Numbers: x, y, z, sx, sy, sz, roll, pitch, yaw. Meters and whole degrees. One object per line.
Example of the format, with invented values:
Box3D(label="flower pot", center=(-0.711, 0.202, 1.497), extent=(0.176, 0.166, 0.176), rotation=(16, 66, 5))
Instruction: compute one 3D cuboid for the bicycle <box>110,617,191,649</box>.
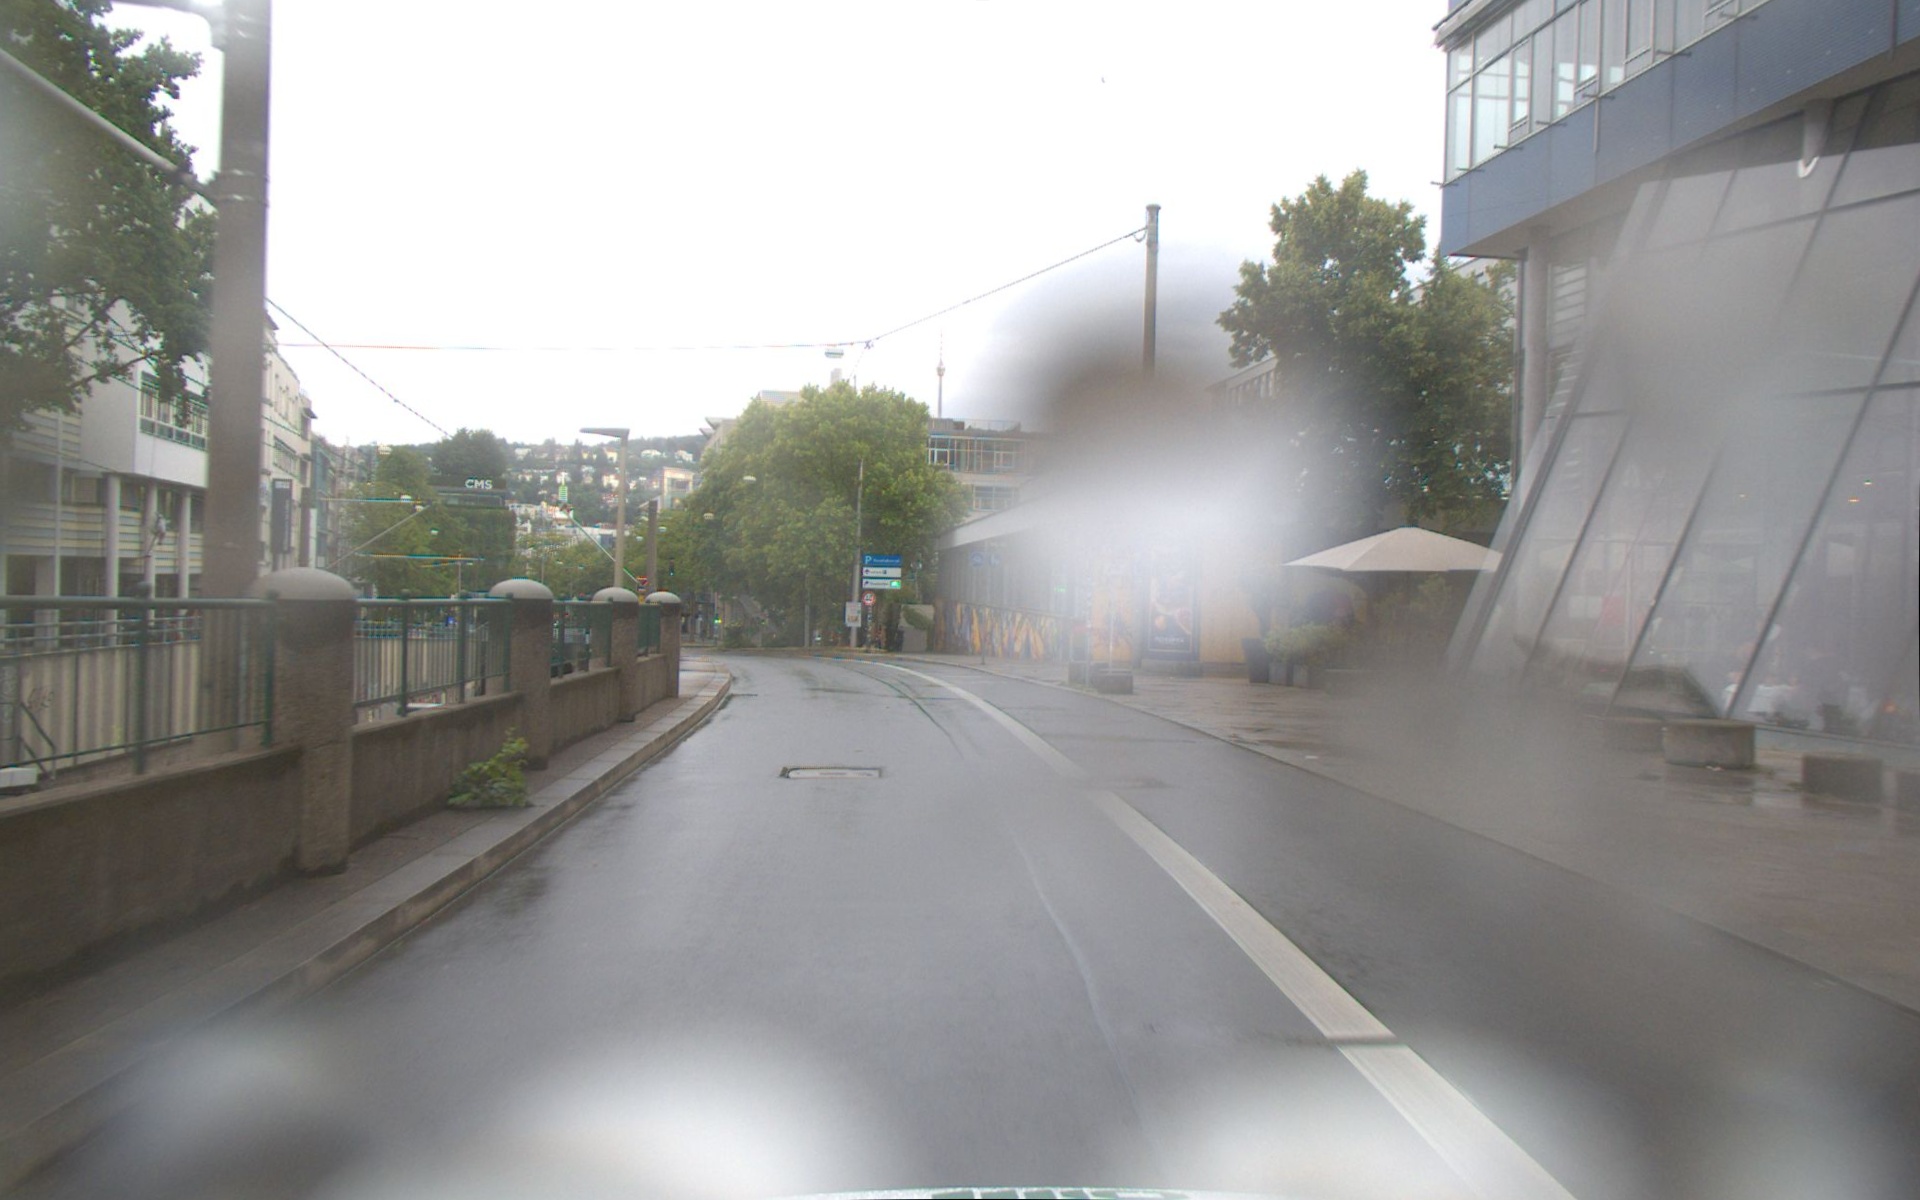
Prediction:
Box3D(label="bicycle", center=(-30.219, 1.204, 61.843), extent=(1.663, 1.062, 4.507), rotation=(2, -1, -13))

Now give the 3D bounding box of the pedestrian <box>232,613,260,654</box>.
Box3D(label="pedestrian", center=(-29.193, 1.358, 67.603), extent=(0.777, 1.672, 0.672), rotation=(0, -1, 28))

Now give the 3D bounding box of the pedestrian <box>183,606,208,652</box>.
Box3D(label="pedestrian", center=(-27.441, 1.043, 59.377), extent=(0.665, 1.644, 0.932), rotation=(2, -2, -32))

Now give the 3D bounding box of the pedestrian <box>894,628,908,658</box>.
Box3D(label="pedestrian", center=(-3.783, 2.745, 105.332), extent=(0.792, 1.897, 1.054), rotation=(0, -2, -8))

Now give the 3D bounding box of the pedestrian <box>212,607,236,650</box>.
Box3D(label="pedestrian", center=(-30.325, 1.165, 68.164), extent=(0.596, 1.752, 0.671), rotation=(0, -2, 33))

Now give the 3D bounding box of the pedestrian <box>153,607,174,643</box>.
Box3D(label="pedestrian", center=(-32.544, 1.010, 67.597), extent=(0.597, 1.444, 0.671), rotation=(1, -1, -12))

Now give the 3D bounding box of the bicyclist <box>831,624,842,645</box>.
Box3D(label="bicyclist", center=(-9.752, 2.718, 130.934), extent=(0.792, 1.656, 1.044), rotation=(1, -2, -10))

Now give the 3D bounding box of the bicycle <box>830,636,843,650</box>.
Box3D(label="bicycle", center=(-9.783, 3.416, 131.062), extent=(0.792, 1.131, 2.193), rotation=(1, -2, -10))

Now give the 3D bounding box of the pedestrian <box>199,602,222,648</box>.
Box3D(label="pedestrian", center=(-30.098, 1.015, 66.412), extent=(0.665, 1.816, 0.932), rotation=(2, -2, -32))
